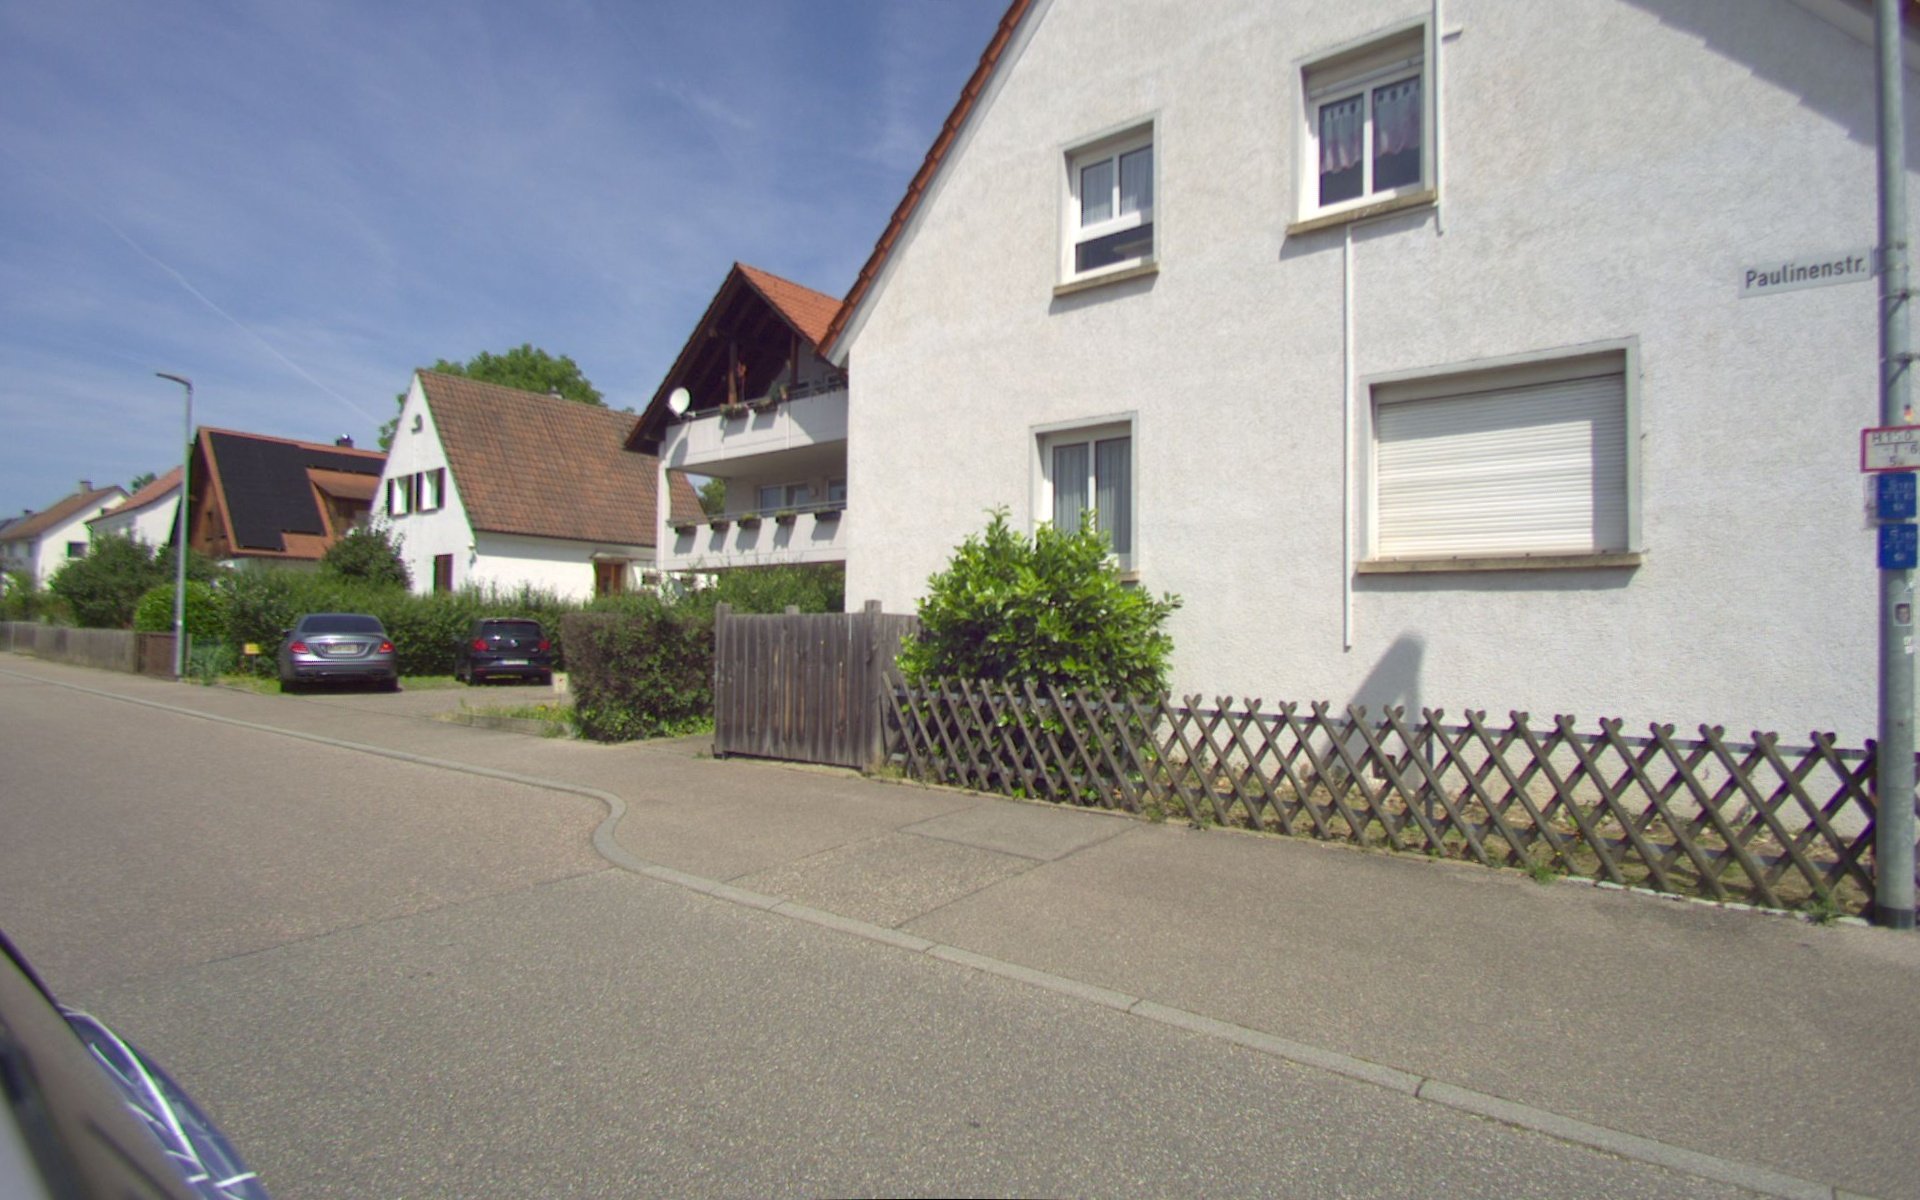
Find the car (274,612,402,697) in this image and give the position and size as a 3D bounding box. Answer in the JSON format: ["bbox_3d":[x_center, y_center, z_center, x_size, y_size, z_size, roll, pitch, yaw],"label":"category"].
[{"bbox_3d":[-12.196,0.982,19.707,1.802,1.443,4.574,2,-2,-35],"label":"car"}]

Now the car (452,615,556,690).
[{"bbox_3d":[-10.150,1.102,22.395,1.666,1.513,3.662,2,-2,-31],"label":"car"}]
